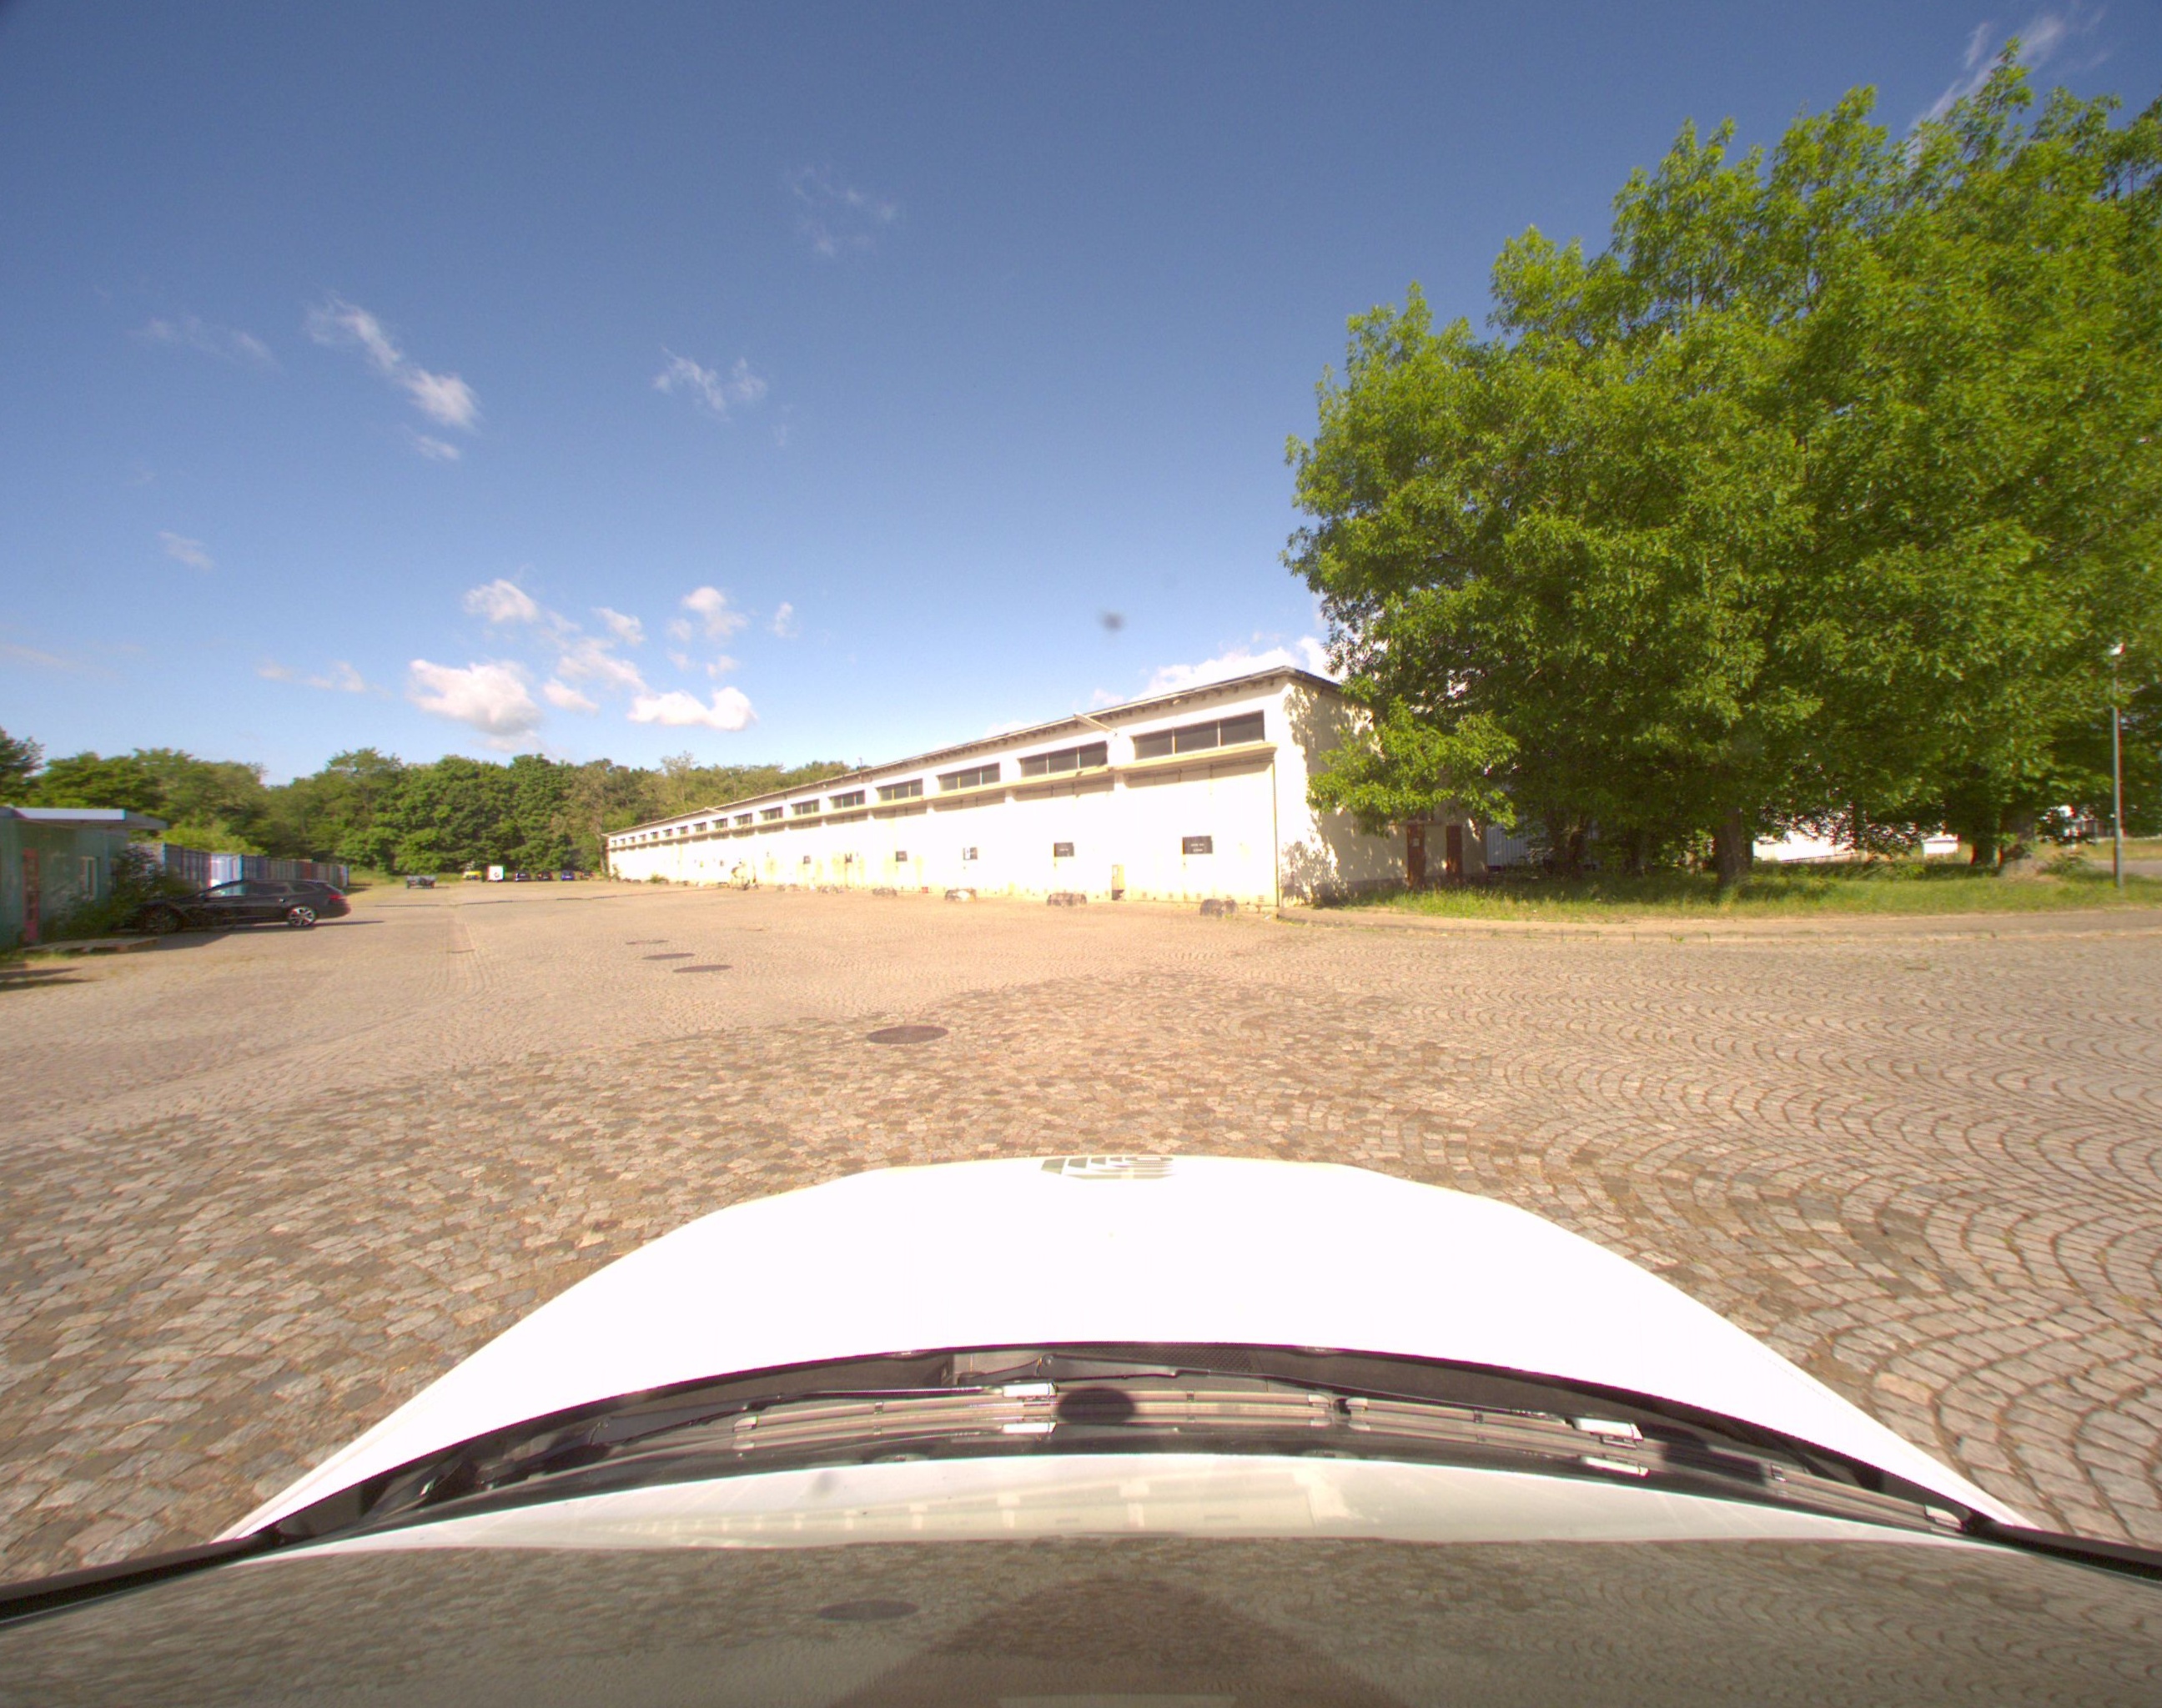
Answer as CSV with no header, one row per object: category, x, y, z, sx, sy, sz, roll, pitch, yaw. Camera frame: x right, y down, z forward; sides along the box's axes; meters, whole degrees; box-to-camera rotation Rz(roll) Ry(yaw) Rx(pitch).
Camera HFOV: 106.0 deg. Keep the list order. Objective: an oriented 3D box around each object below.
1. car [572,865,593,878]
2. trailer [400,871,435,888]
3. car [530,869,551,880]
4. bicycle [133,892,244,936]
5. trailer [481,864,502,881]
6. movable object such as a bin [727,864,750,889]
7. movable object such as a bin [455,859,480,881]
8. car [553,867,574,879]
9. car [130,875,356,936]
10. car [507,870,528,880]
car,-69.203,2.455,113.057,2.010,1.772,3.954,-2,0,-38
trailer,-71.303,2.674,87.493,2.815,1.646,5.555,-2,0,-39
car,-72.356,2.706,108.991,2.010,1.424,3.954,-2,0,-38
bicycle,-23.936,1.588,21.903,1.891,1.027,1.026,-1,0,-41
trailer,-76.997,2.388,106.402,2.010,2.162,4.380,-2,0,-39
movable object such as a bin,-19.247,1.255,45.706,0.882,1.401,1.088,-1,0,-39
movable object such as a bin,-79.415,2.071,105.447,2.251,2.657,3.952,-2,0,-41
car,-70.305,2.608,110.608,2.010,1.466,3.954,-2,0,-38
car,-24.180,1.420,23.798,4.453,1.464,1.976,-2,0,-42
car,-74.123,2.782,107.116,2.010,1.258,3.954,-2,0,-38
